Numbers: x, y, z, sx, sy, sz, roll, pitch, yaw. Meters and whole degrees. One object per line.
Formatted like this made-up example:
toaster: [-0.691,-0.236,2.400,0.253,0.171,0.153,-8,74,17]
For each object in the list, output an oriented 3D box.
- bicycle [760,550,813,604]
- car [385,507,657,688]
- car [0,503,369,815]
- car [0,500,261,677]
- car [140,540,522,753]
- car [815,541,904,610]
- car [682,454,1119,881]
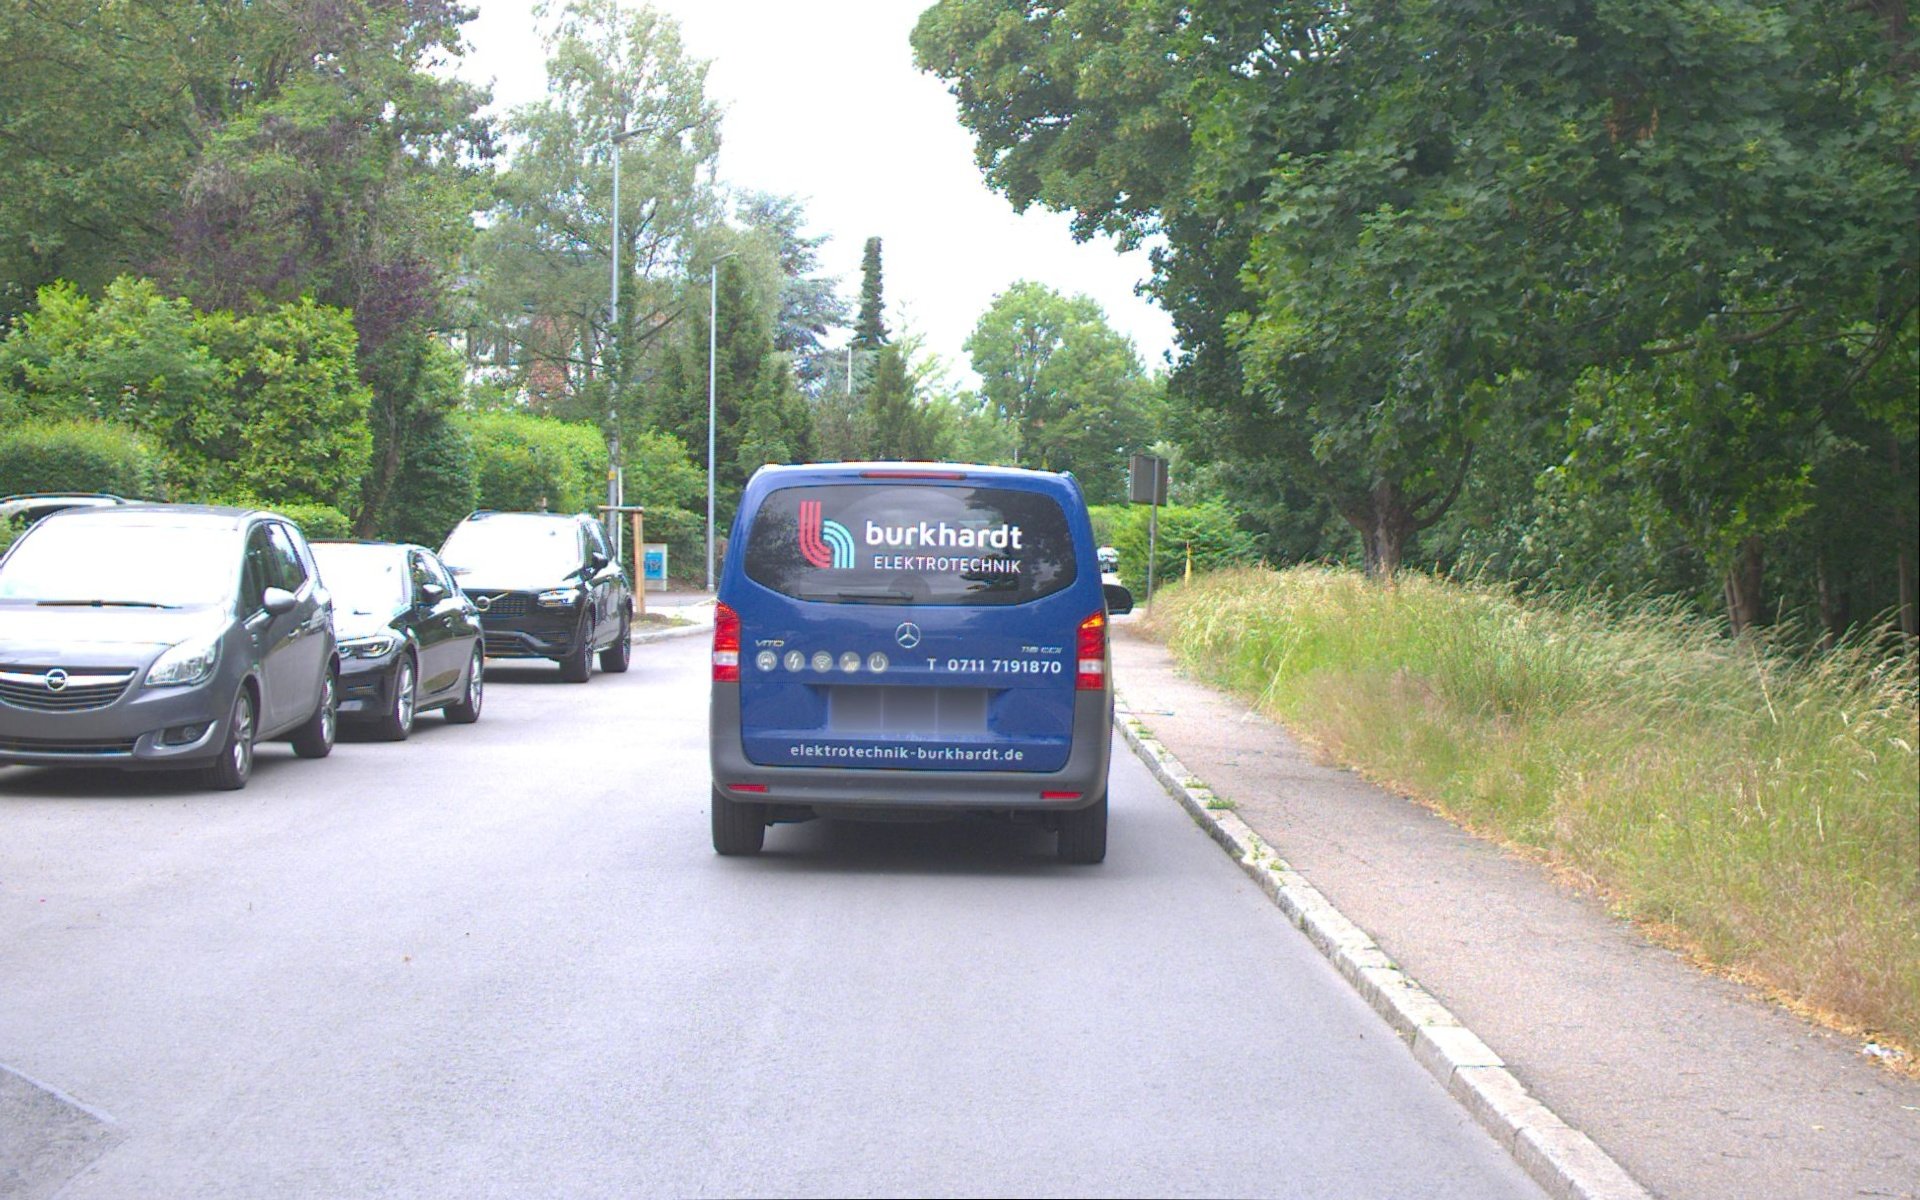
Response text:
bicycle: [-4.292,-0.570,85.261,0.906,1.247,2.915,4,1,3]
car: [-4.609,-0.062,36.872,1.974,1.731,5.189,2,1,3]
car: [-4.830,0.272,20.701,1.731,1.627,4.569,2,1,0]
car: [-9.052,-0.154,34.046,3.694,1.632,1.827,2,1,14]
car: [-4.652,0.285,26.150,1.754,1.408,4.898,2,1,3]
car: [-2.552,-0.640,88.101,1.836,1.625,4.300,3,1,3]
car: [-0.368,0.221,17.259,1.888,1.837,4.001,2,2,-3]
